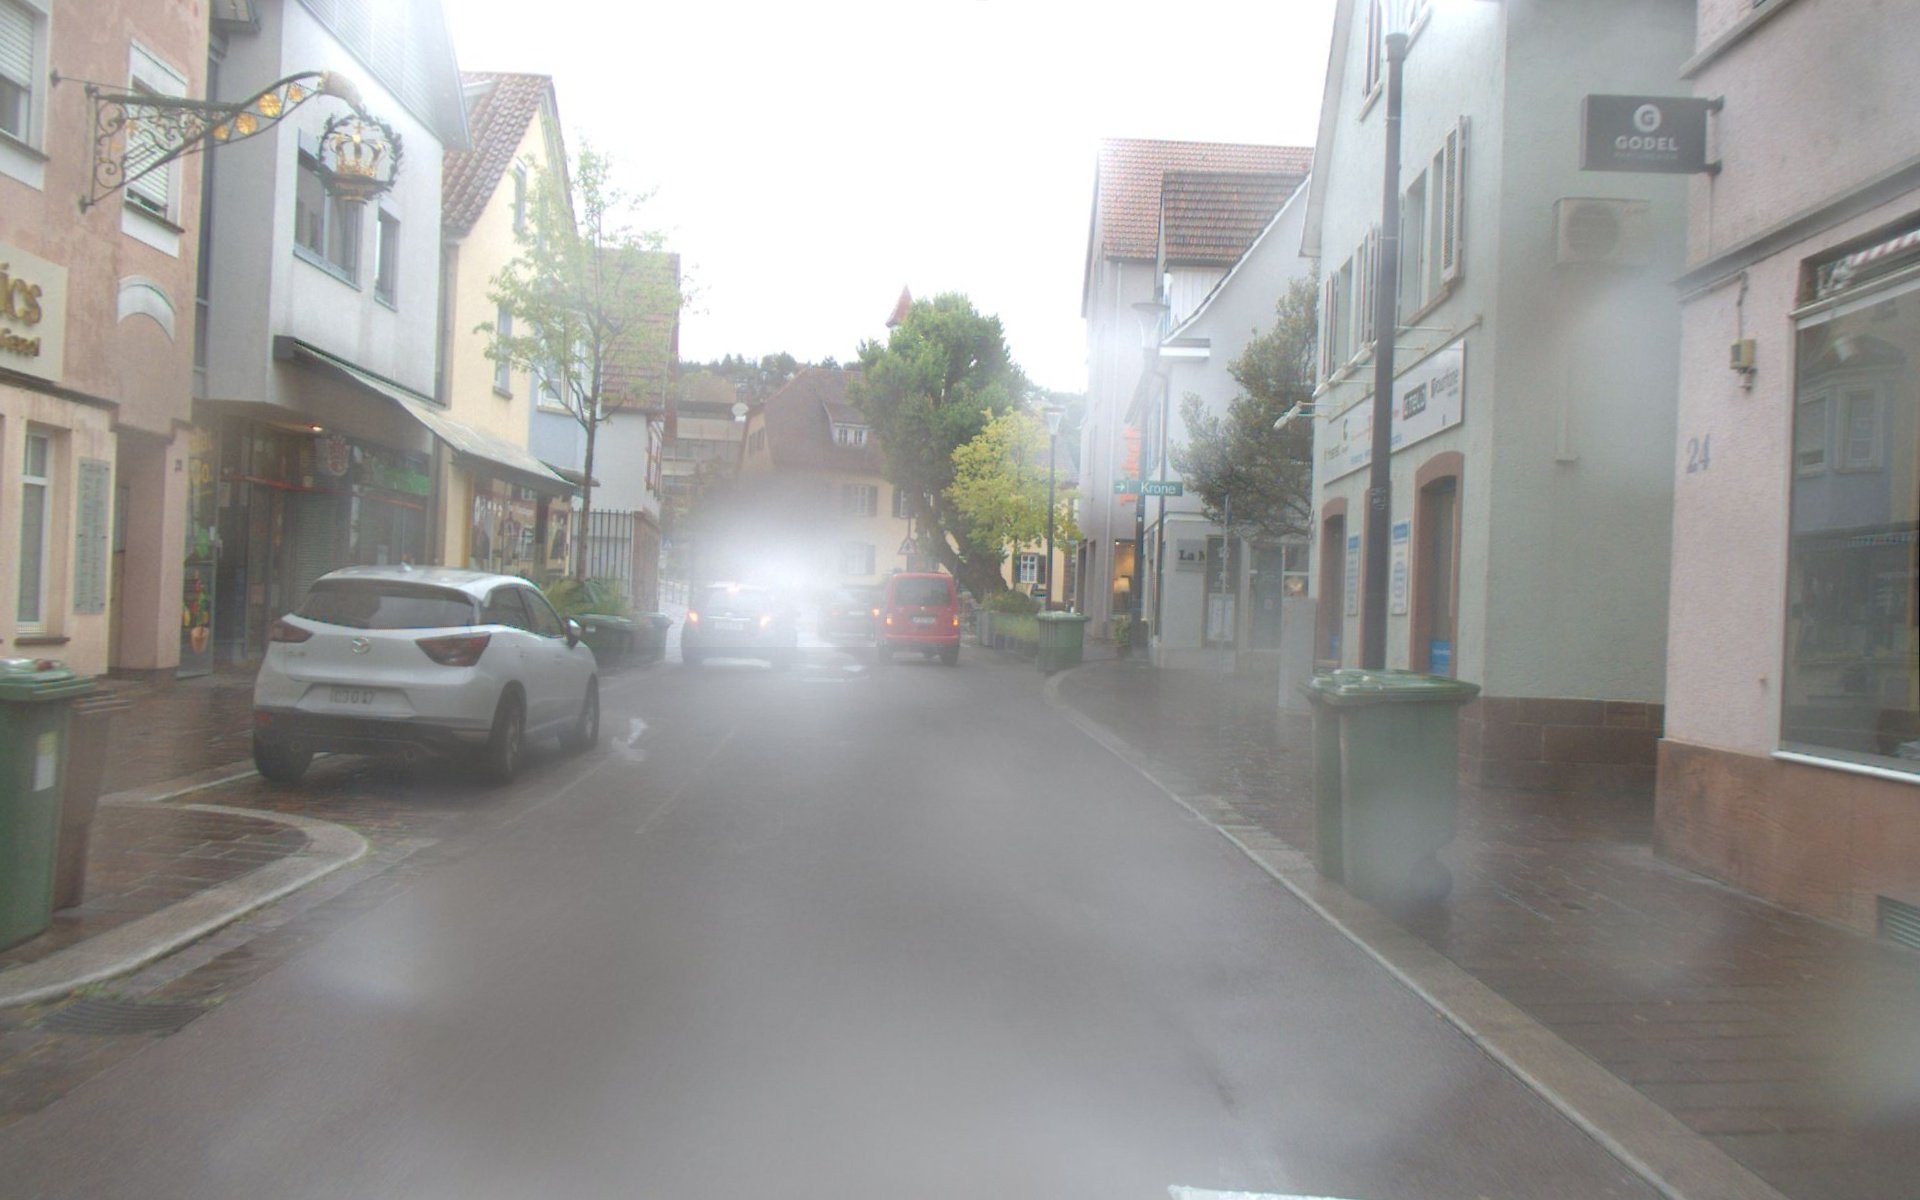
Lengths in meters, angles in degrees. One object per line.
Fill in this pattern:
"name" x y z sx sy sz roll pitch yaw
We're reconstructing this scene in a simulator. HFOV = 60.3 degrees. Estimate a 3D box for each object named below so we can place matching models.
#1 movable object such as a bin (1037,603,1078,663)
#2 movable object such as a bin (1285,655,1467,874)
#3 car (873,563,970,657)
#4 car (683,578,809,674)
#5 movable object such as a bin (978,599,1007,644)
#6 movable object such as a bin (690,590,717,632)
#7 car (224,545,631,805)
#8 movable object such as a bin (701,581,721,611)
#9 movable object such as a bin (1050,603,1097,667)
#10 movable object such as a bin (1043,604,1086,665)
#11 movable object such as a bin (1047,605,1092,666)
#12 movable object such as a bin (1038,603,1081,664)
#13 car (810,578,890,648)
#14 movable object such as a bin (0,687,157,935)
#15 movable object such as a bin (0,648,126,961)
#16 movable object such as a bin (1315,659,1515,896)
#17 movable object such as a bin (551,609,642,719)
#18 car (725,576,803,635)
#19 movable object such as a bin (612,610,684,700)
"movable object such as a bin" 1.908 0.647 32.462 0.720 1.117 0.611 3 -1 -1
"movable object such as a bin" 2.221 0.865 8.878 0.780 1.099 0.582 2 -1 -4
"car" -0.919 0.164 36.815 1.857 1.842 3.997 4 1 -4
"car" -3.718 0.398 29.291 1.657 1.468 3.884 3 1 0
"movable object such as a bin" 0.864 0.569 44.246 0.620 1.170 0.578 3 -1 -8
"movable object such as a bin" -7.091 0.300 45.752 0.647 1.129 0.614 3 -1 -9
"car" -3.851 0.448 12.742 1.657 1.564 4.121 4 1 1
"movable object such as a bin" -9.762 -0.161 64.789 0.701 1.125 0.598 3 -1 -11
"movable object such as a bin" 2.059 0.634 29.989 0.752 1.098 0.599 3 -1 0
"movable object such as a bin" 1.972 0.651 31.223 0.714 1.110 0.521 3 -1 0
"movable object such as a bin" 2.016 0.652 30.629 0.739 1.082 0.600 3 -1 0
"movable object such as a bin" 1.915 0.642 31.831 0.720 1.117 0.611 3 -1 -1
"car" -3.248 0.384 48.072 1.956 1.831 3.992 3 -1 -8
"movable object such as a bin" -3.809 0.866 6.933 0.597 0.955 0.499 3 -1 -5
"movable object such as a bin" -3.740 0.743 6.298 0.754 1.101 0.675 3 -1 -6
"movable object such as a bin" 2.255 0.868 8.254 0.777 1.099 0.614 2 -1 -4
"movable object such as a bin" -3.937 0.682 17.949 0.771 1.103 0.693 4 1 -1
"car" -5.896 0.132 49.478 1.758 1.521 3.986 4 1 -14
"movable object such as a bin" -3.876 0.680 20.597 0.695 1.071 0.704 3 -1 0
